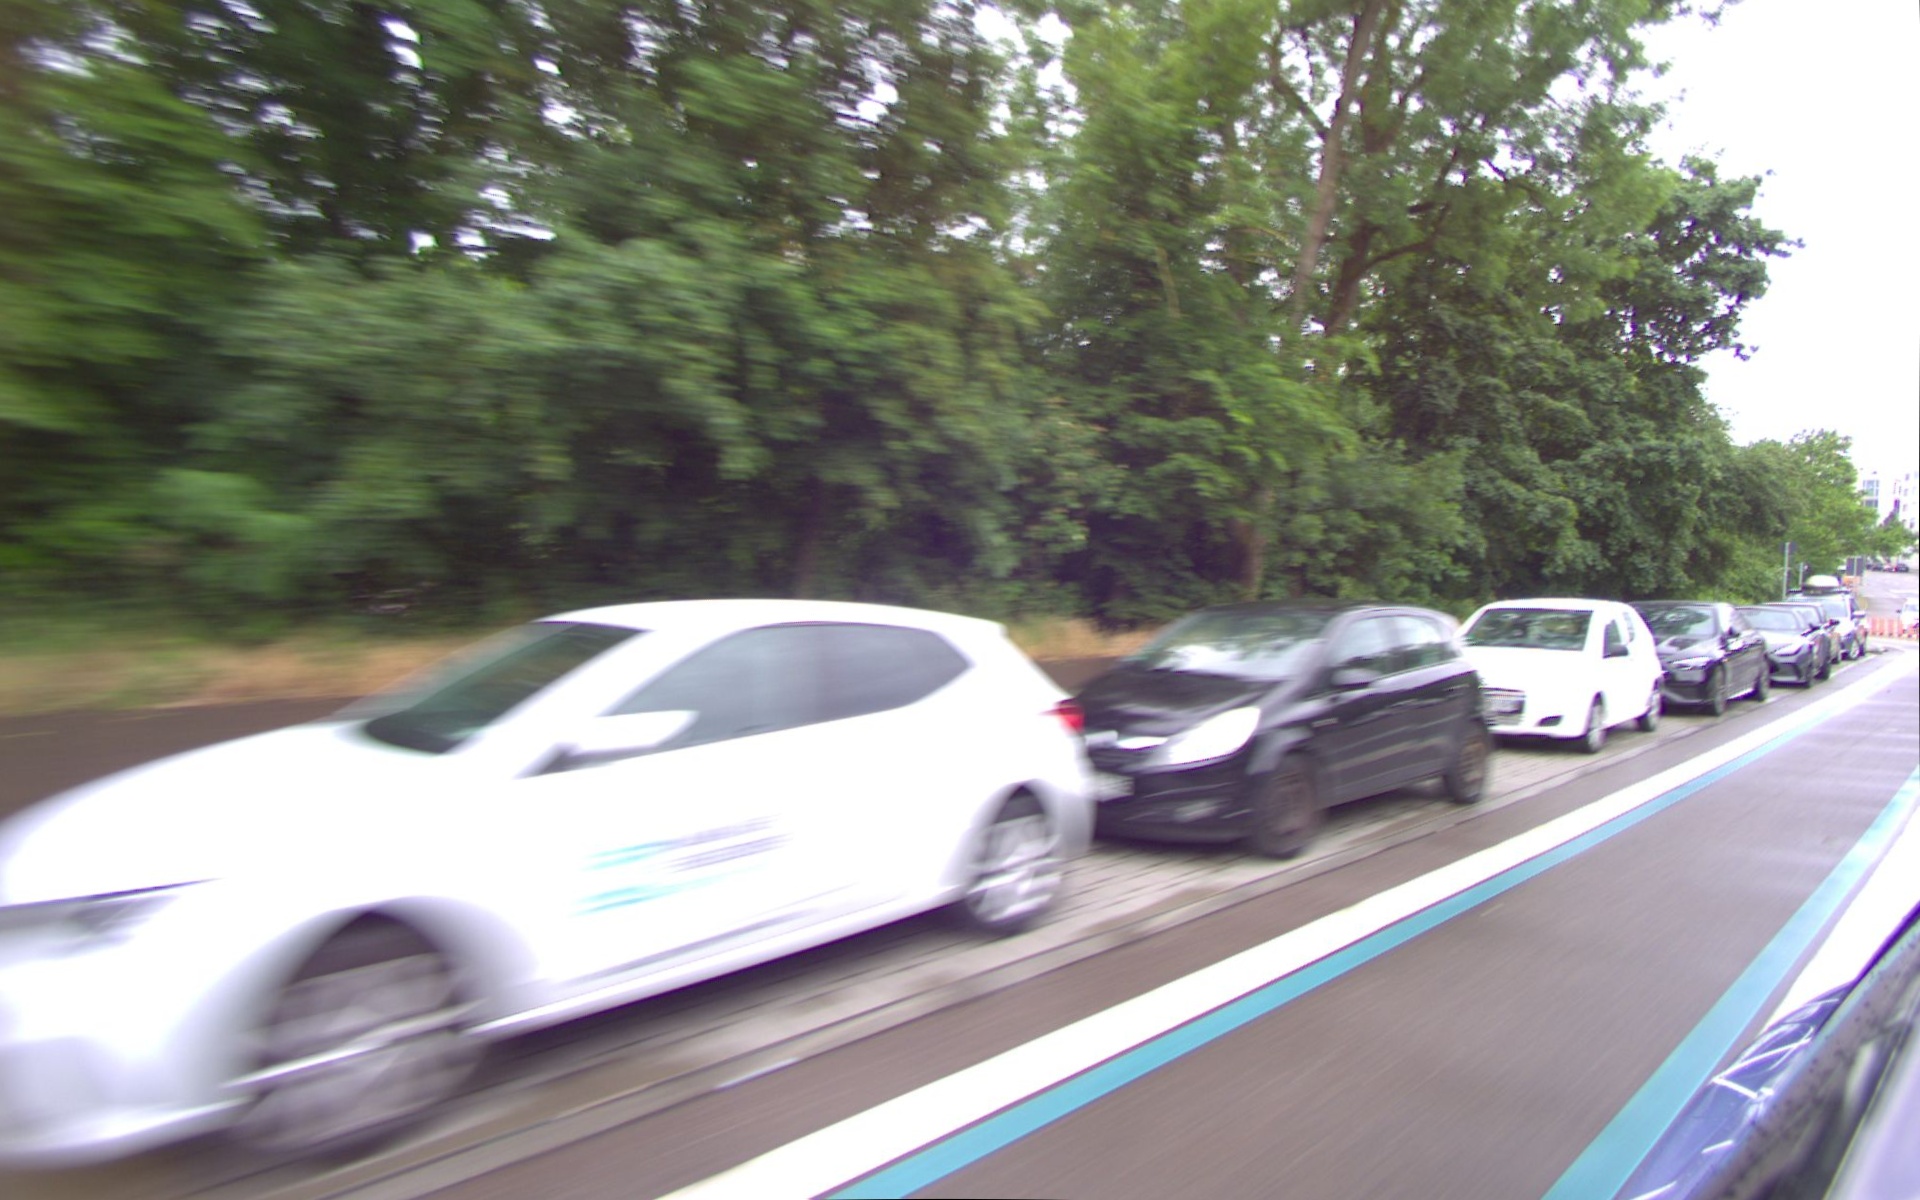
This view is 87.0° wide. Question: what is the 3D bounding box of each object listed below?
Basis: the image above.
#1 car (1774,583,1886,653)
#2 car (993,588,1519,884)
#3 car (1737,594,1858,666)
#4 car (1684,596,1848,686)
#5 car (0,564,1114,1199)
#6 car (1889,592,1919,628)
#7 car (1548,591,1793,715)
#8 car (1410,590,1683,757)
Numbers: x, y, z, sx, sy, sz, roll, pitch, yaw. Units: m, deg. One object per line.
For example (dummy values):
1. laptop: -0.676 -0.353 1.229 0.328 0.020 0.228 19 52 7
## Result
1. car: 22.151 0.410 25.713 4.182 1.635 1.823 -1 0 -45
2. car: 2.195 0.689 6.972 3.831 1.484 1.662 0 -1 -41
3. car: 18.510 0.603 22.310 3.643 1.430 1.697 -1 0 -45
4. car: 14.720 0.640 18.396 4.314 1.417 1.854 -1 1 -45
5. car: -1.234 0.657 4.000 3.934 1.485 1.619 0 0 -44
6. car: 46.804 0.508 48.777 1.910 1.682 3.962 2 1 27
7. car: 10.242 0.629 14.438 4.669 1.473 1.859 0 1 -42
8. car: 6.390 0.651 10.865 3.614 1.478 1.561 0 1 -43
